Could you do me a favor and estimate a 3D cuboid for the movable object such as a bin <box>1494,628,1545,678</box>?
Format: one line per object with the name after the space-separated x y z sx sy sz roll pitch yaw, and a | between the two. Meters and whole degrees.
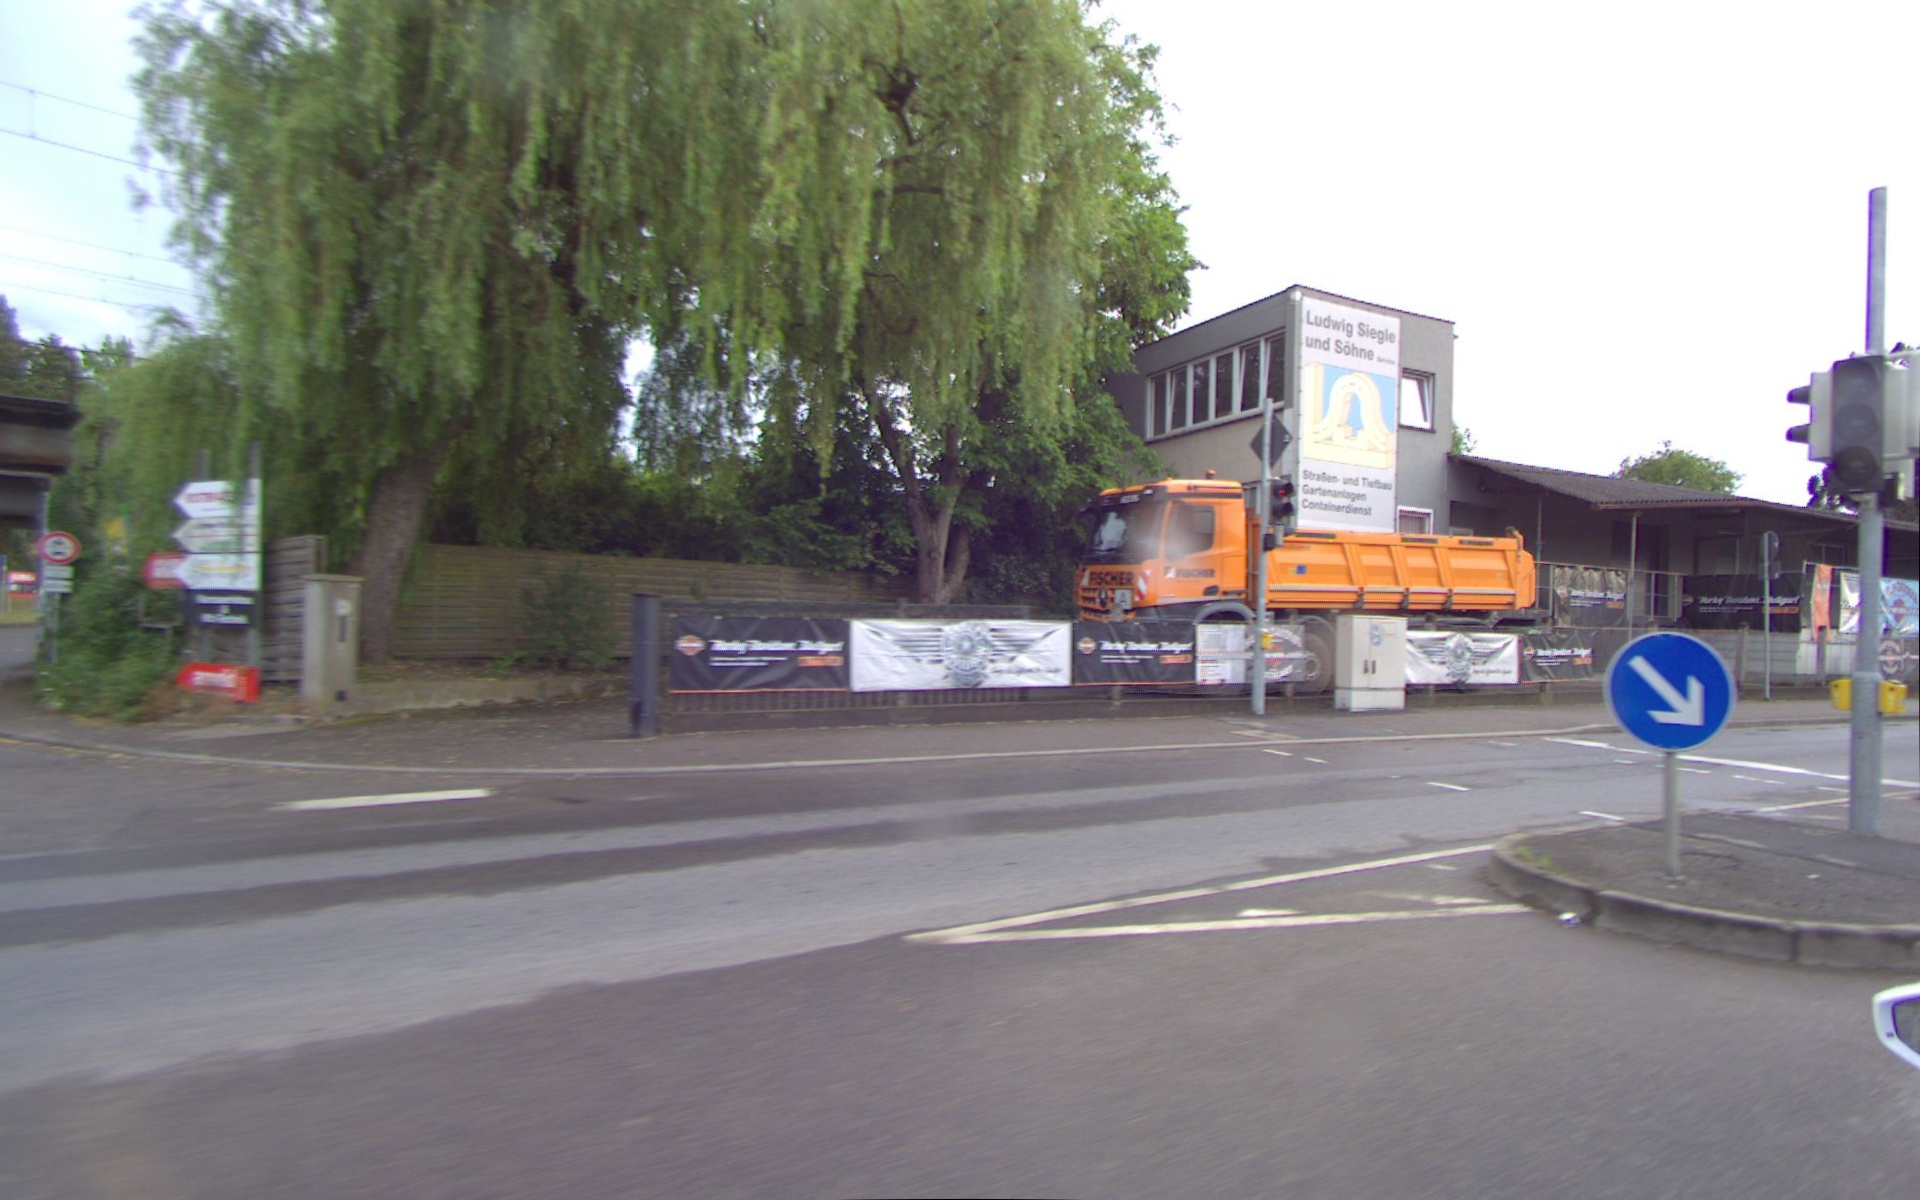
12.554 1.180 22.552 0.616 1.070 0.760 2 0 -27 | movable object such as a bin

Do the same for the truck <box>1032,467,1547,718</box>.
5.921 0.075 17.570 8.949 3.456 2.690 4 0 -25 | truck

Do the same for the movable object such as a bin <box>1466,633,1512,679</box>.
11.612 1.218 22.057 0.454 0.968 0.746 2 0 -27 | movable object such as a bin

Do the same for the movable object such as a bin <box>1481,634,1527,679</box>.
12.059 1.244 22.276 0.472 0.968 0.760 2 0 -27 | movable object such as a bin
